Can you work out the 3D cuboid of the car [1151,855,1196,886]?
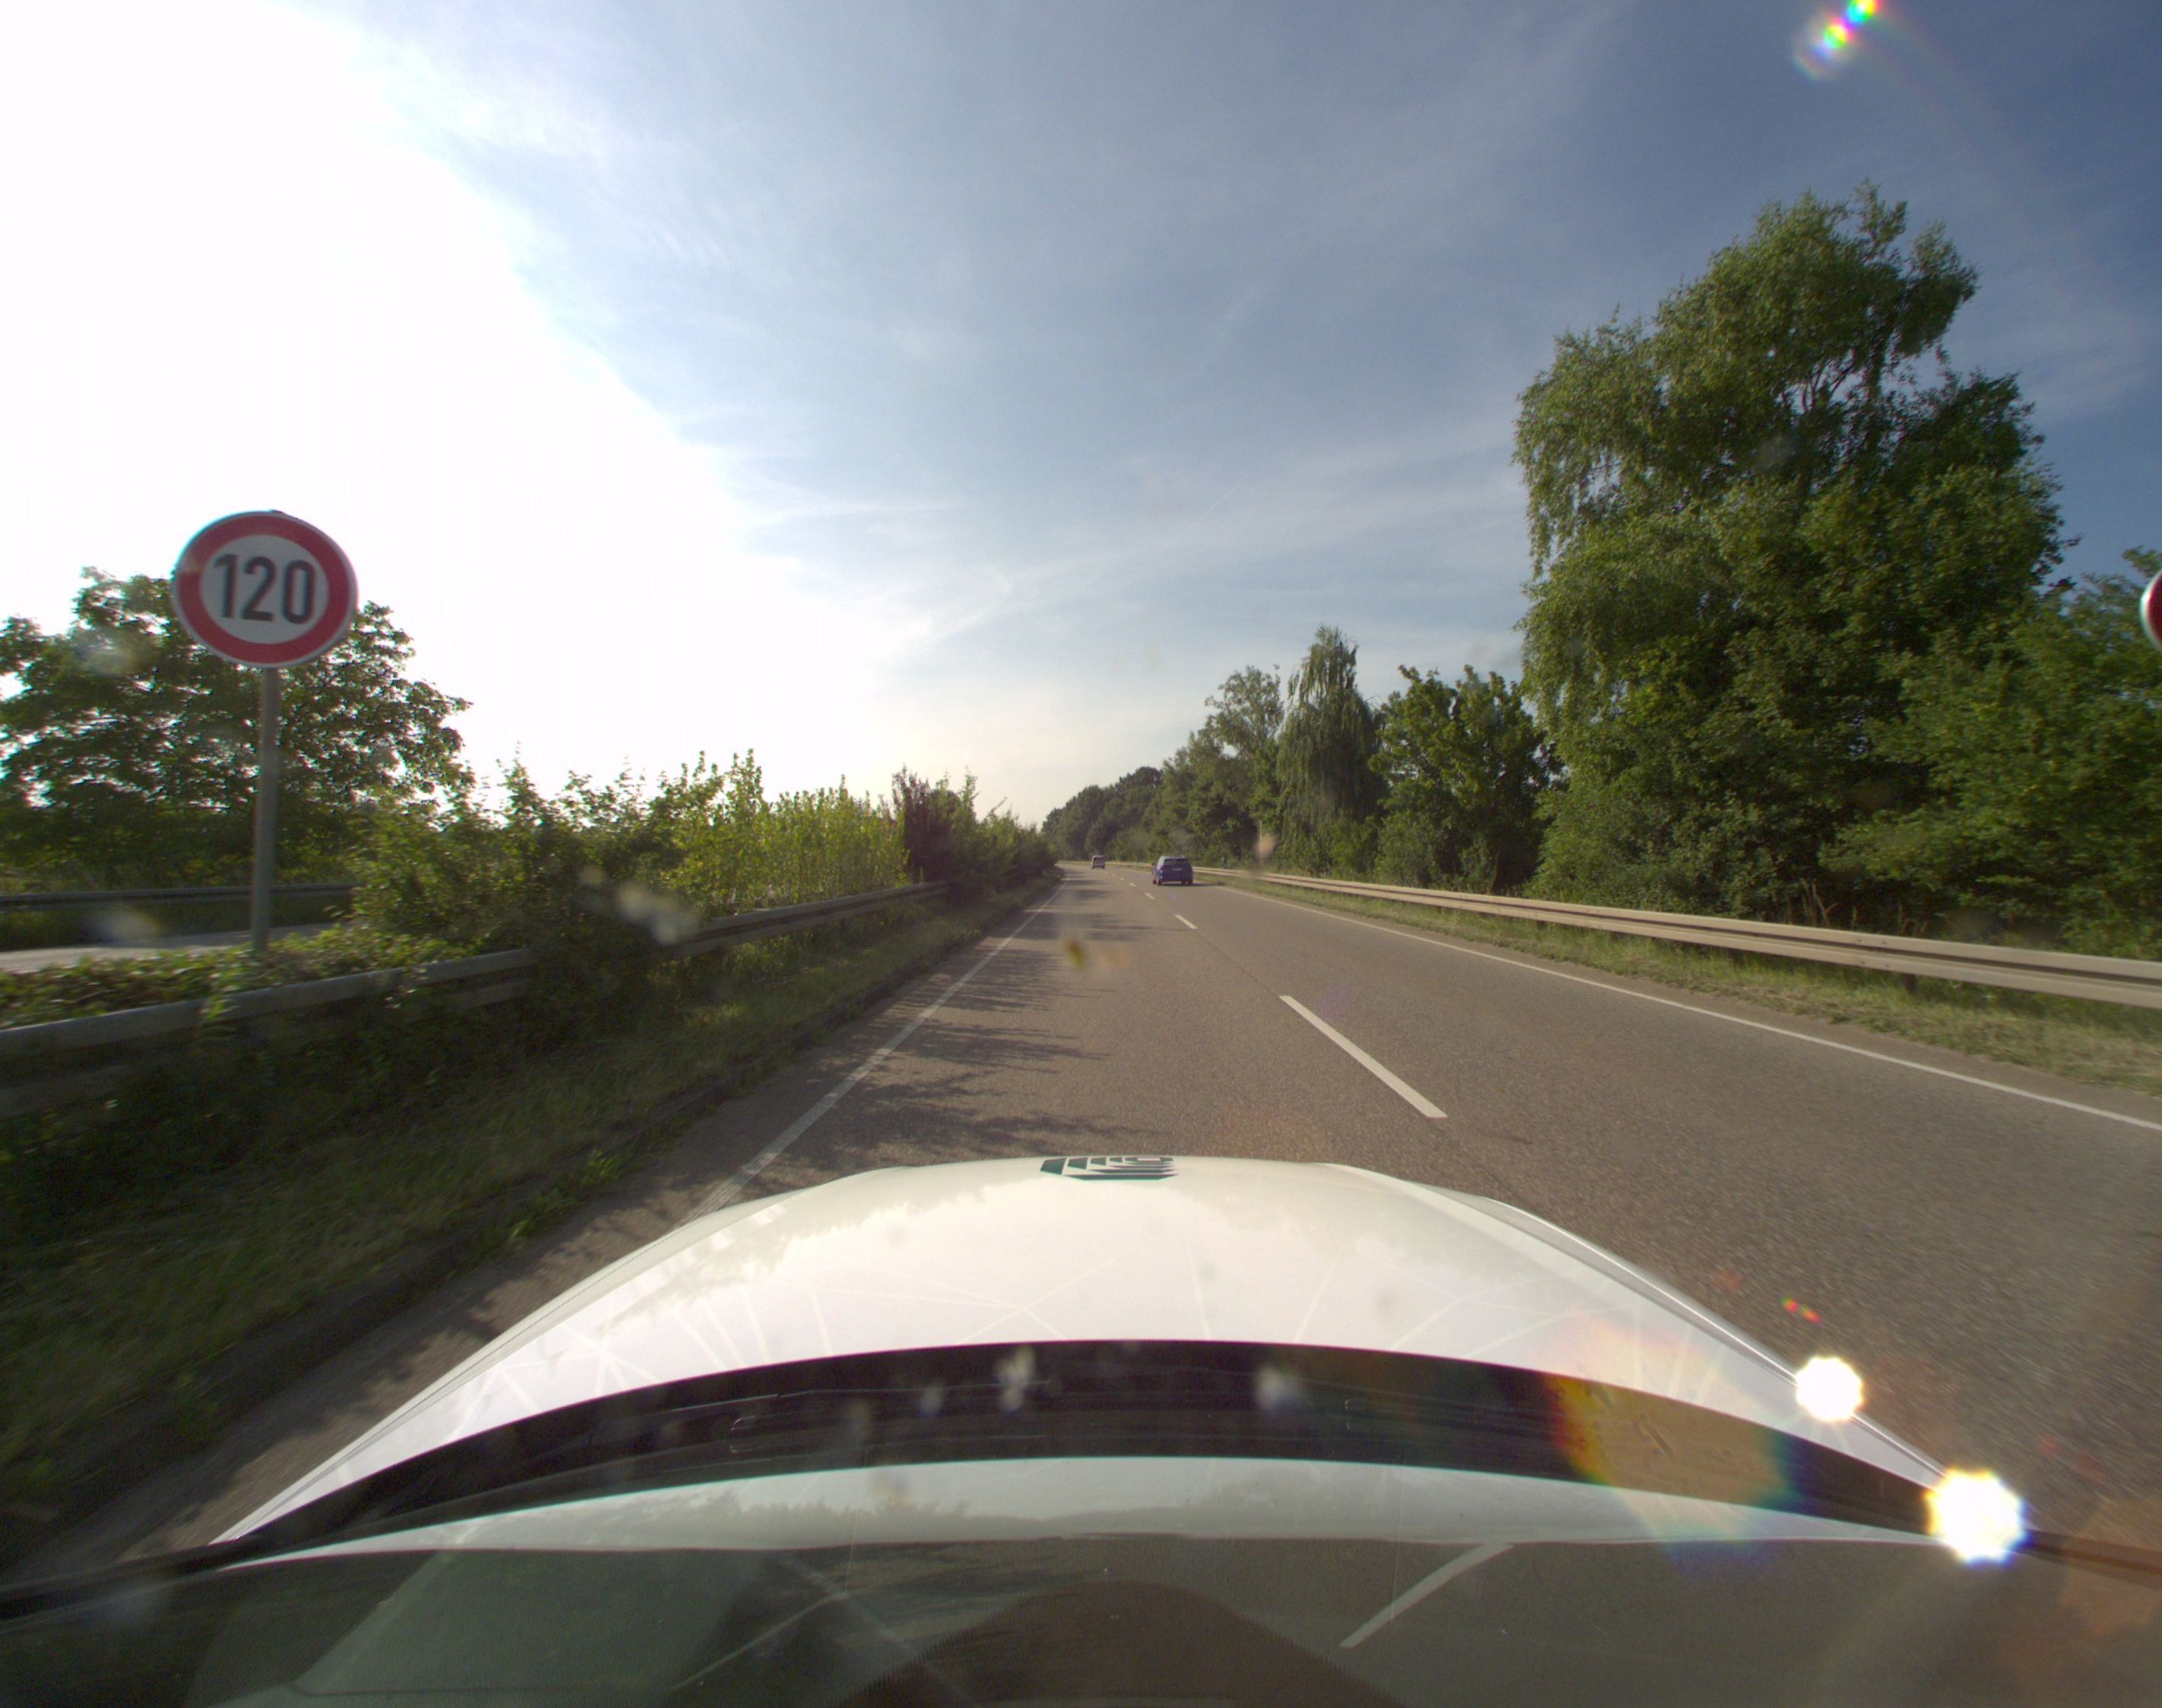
[{"bbox_3d":[4.630,0.795,41.160,1.774,1.451,3.998,-1,0,-1],"label":"car"}]

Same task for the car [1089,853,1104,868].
[{"bbox_3d":[2.124,0.850,110.428,1.761,1.881,3.997,-1,0,-2],"label":"car"}]
